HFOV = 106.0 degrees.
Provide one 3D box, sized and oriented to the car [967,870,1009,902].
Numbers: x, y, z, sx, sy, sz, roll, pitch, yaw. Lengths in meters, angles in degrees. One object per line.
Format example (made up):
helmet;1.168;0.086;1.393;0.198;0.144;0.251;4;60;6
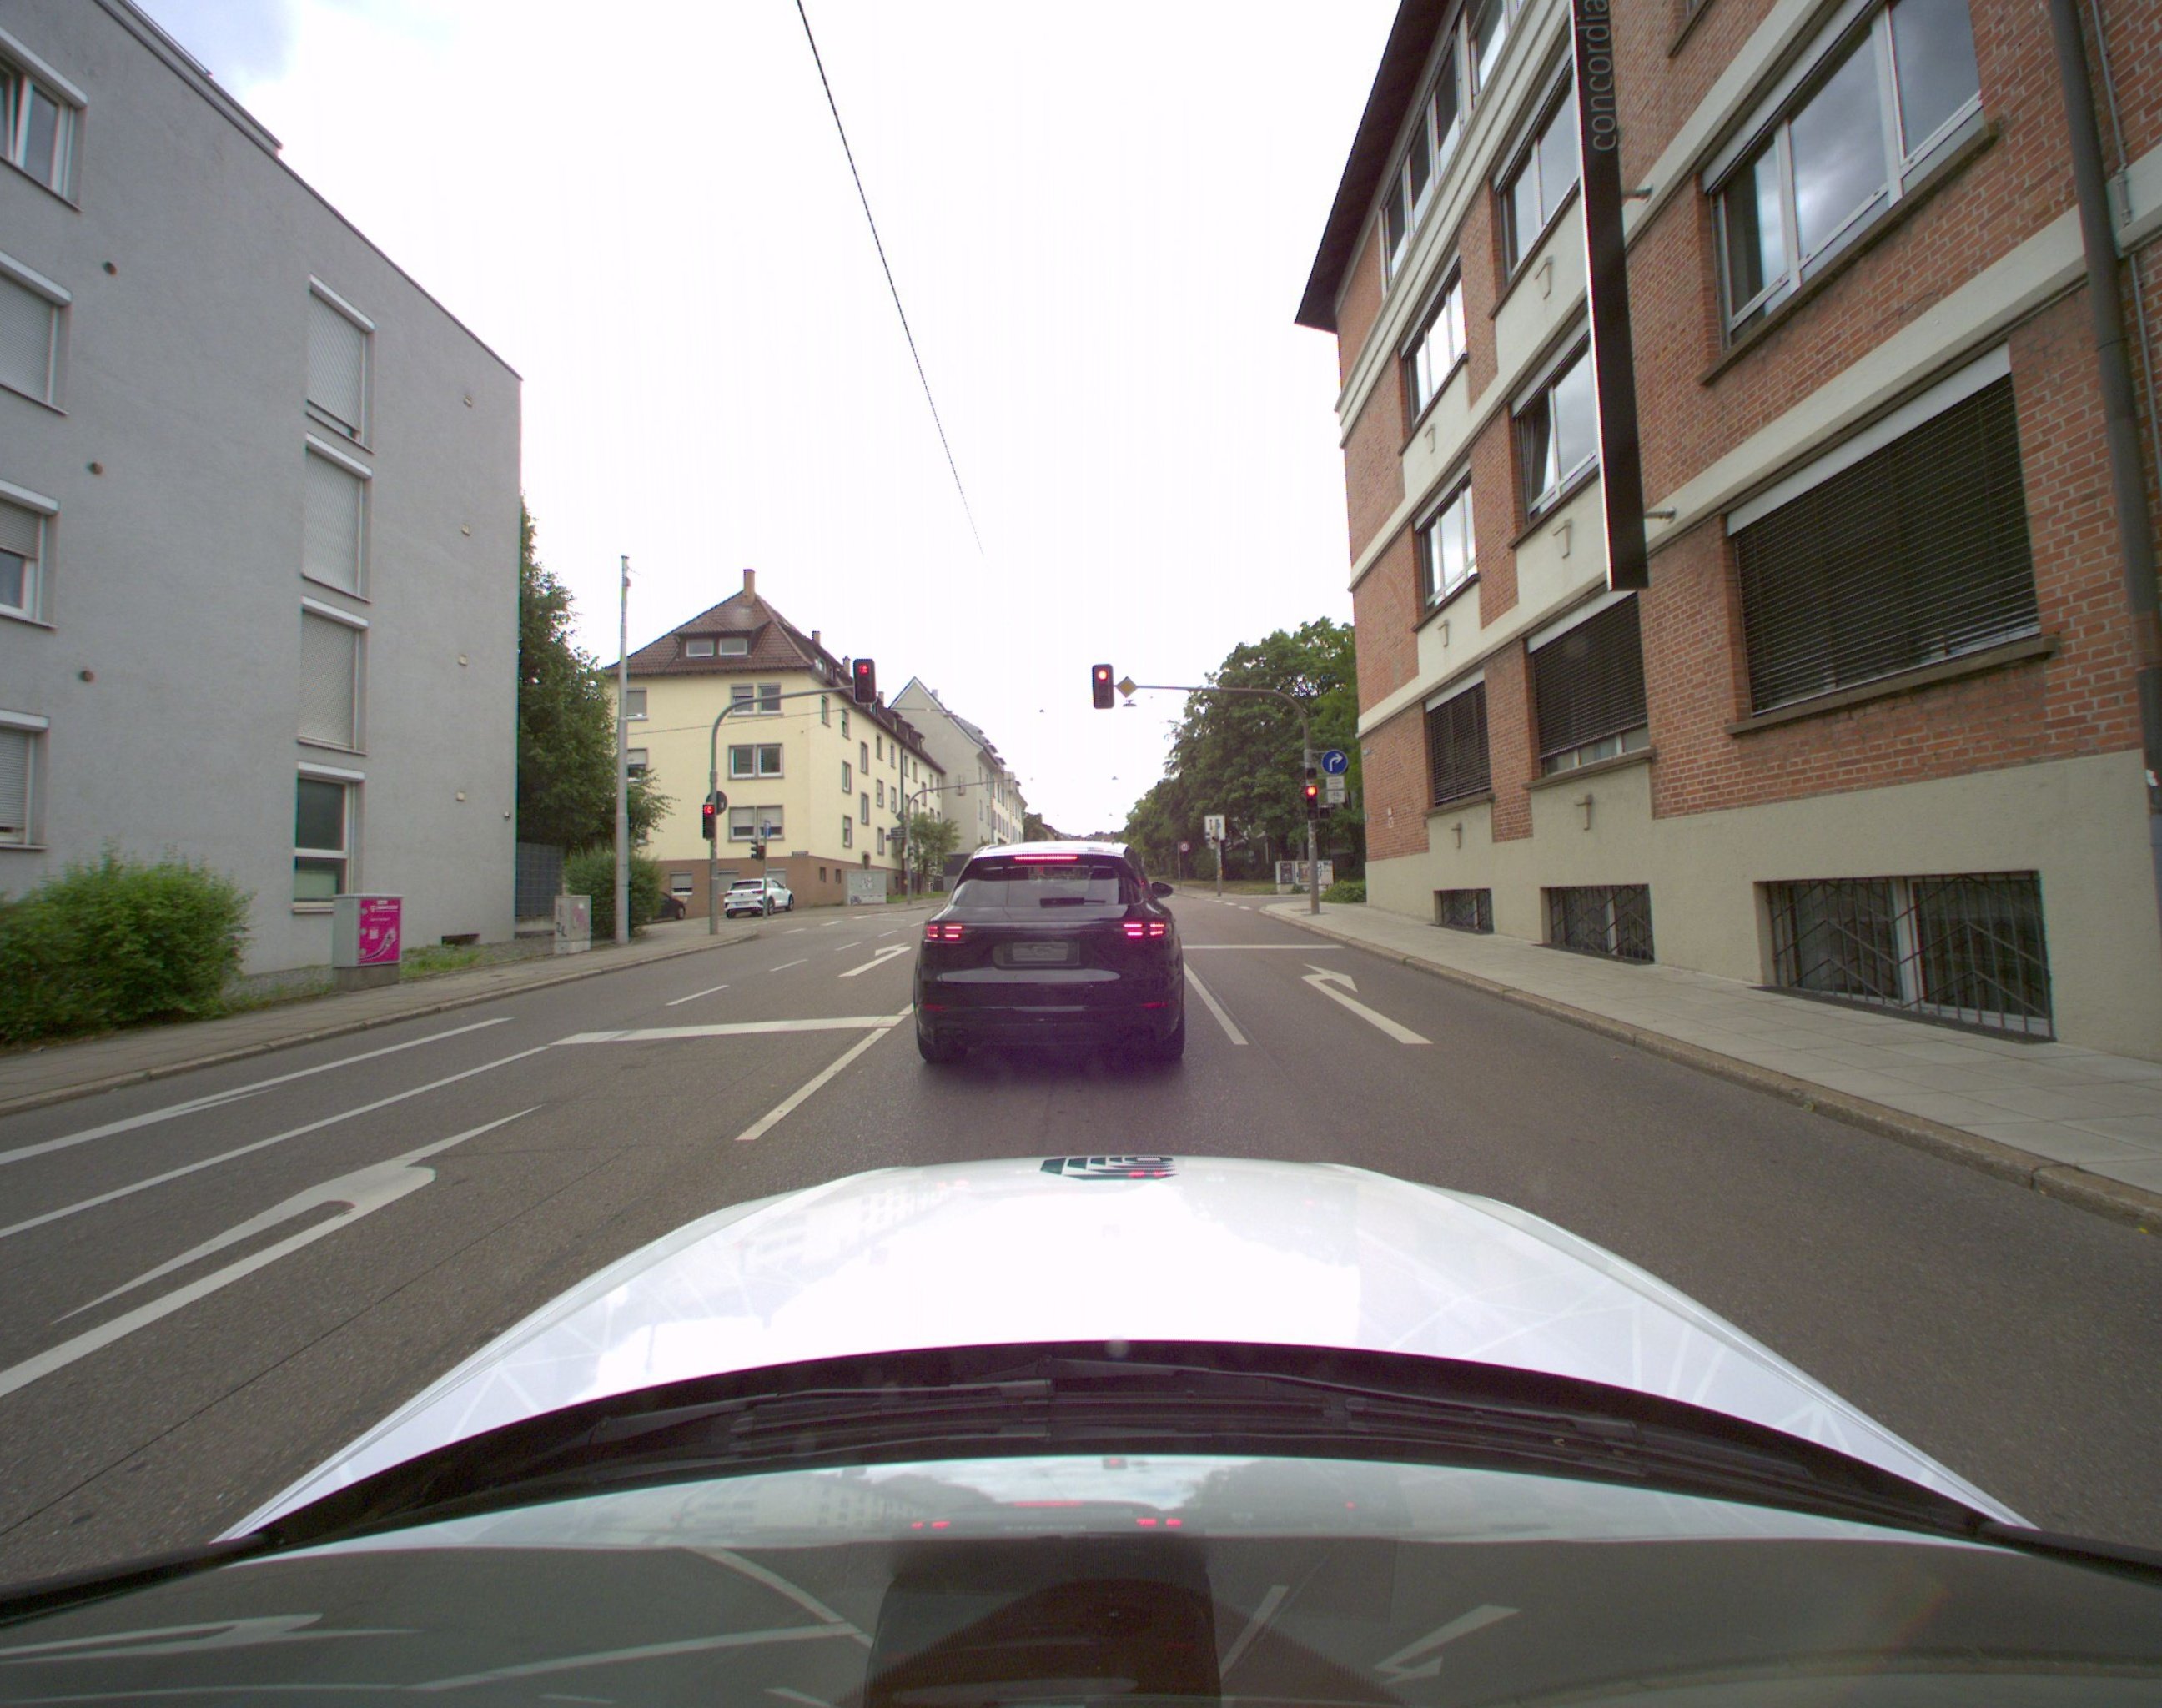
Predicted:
car;-5.195;1.768;46.104;1.657;1.519;3.742;-5;-1;2

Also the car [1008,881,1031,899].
car;-5.236;3.061;69.461;1.665;1.362;3.998;-1;0;-1

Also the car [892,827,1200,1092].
car;-0.167;0.699;7.272;1.986;1.697;4.001;0;0;2

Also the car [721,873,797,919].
car;-13.517;1.722;34.430;1.666;1.662;3.996;-4;0;-3

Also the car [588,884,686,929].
car;-18.614;2.171;34.364;1.664;1.546;4.103;-5;-1;2

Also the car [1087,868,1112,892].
car;1.289;1.790;56.857;1.682;1.552;3.889;0;0;1

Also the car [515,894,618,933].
car;-21.444;2.447;34.138;1.663;1.362;4.001;-1;0;2
